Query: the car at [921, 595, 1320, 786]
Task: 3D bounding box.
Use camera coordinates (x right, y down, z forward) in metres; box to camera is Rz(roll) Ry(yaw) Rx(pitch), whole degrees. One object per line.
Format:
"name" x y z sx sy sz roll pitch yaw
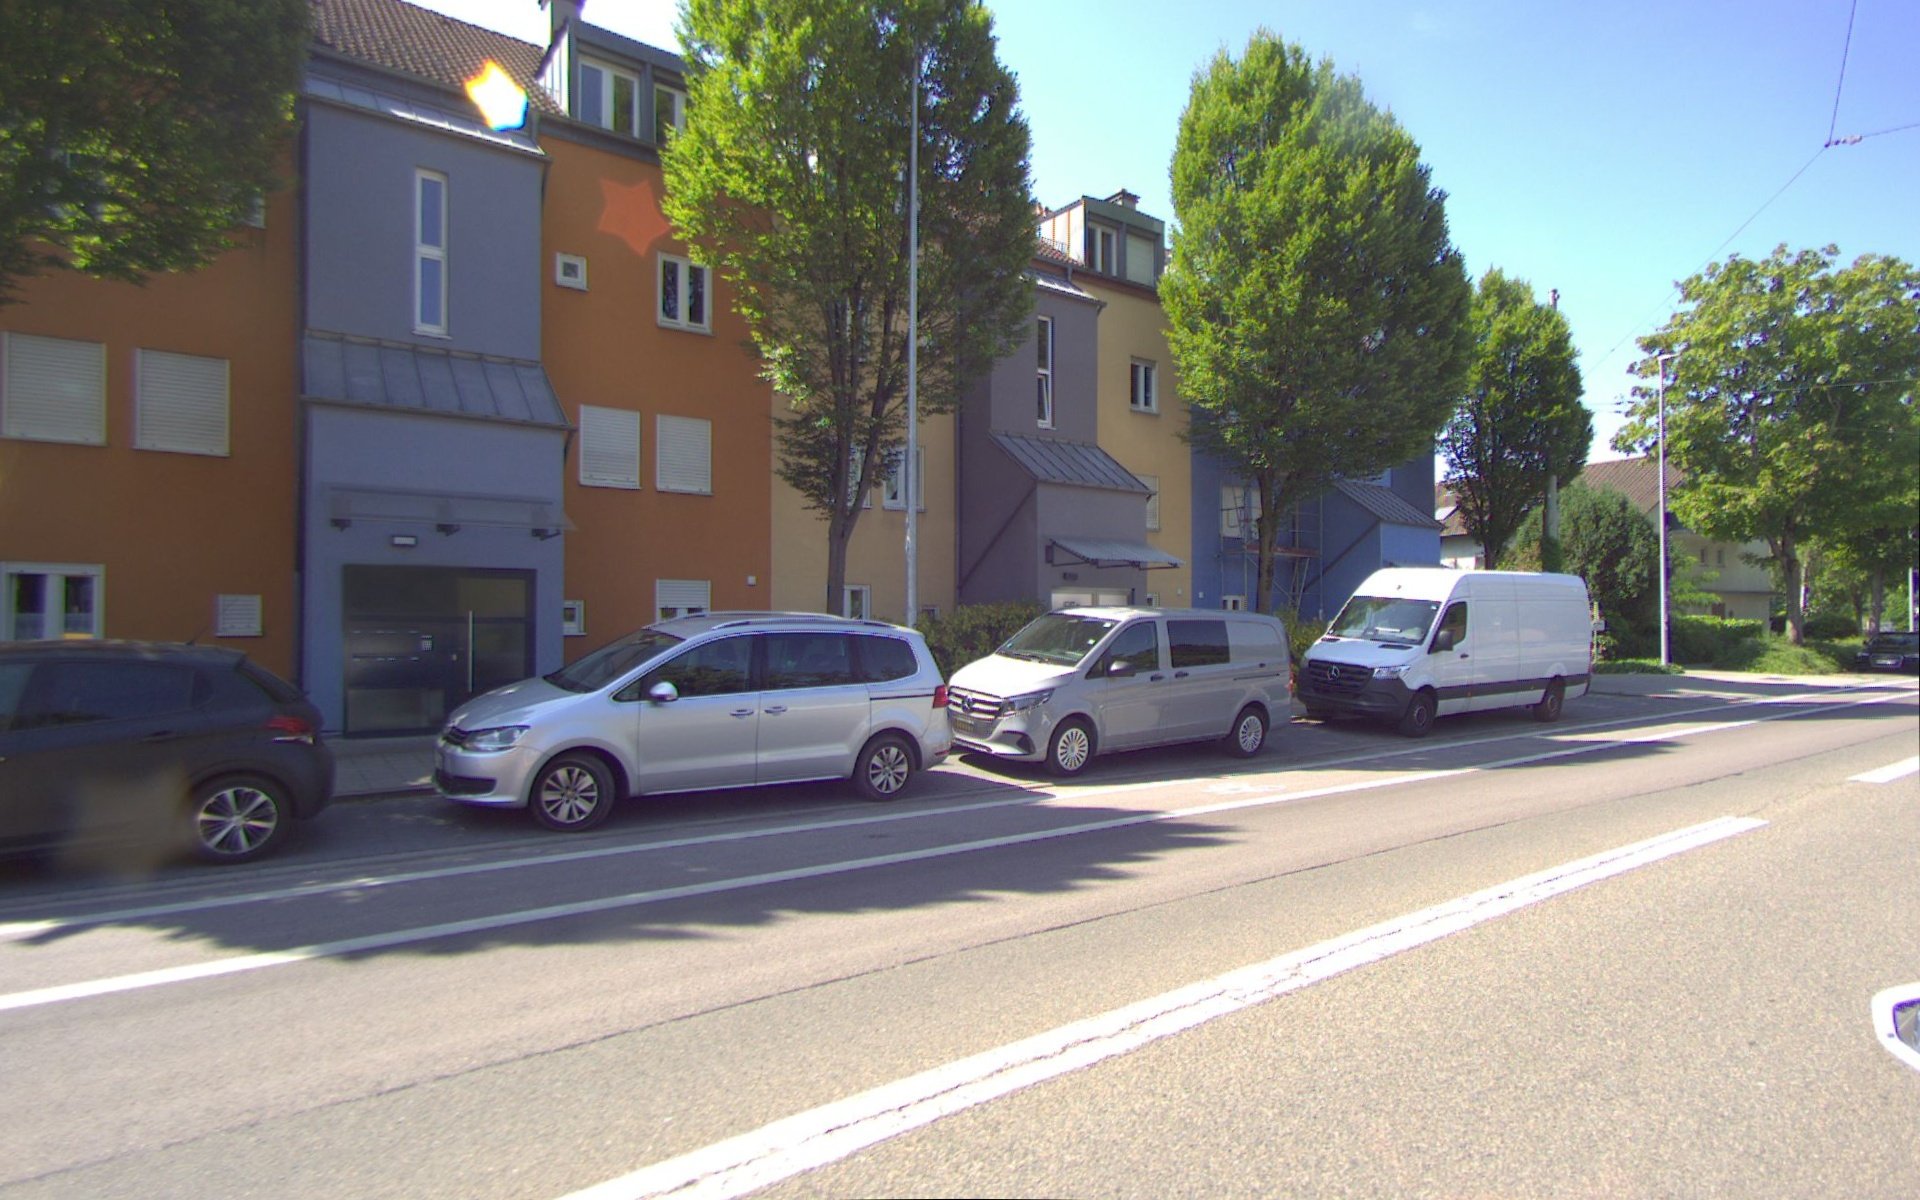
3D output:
"car" 2.231 1.007 12.996 5.303 1.974 1.906 1 1 -37

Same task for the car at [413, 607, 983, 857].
"car" -2.273 1.010 9.448 4.861 1.748 1.788 1 1 -36

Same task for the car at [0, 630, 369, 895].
"car" -6.317 0.990 6.585 4.013 1.494 1.677 1 1 -39

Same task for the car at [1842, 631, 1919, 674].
"car" 33.139 1.825 35.679 3.957 1.435 1.690 1 -2 -33

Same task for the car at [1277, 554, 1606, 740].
"car" 8.714 0.745 17.759 7.086 2.750 1.981 1 1 -35

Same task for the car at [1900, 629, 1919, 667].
"car" 39.177 1.894 39.954 3.957 1.501 1.690 1 -2 -33
